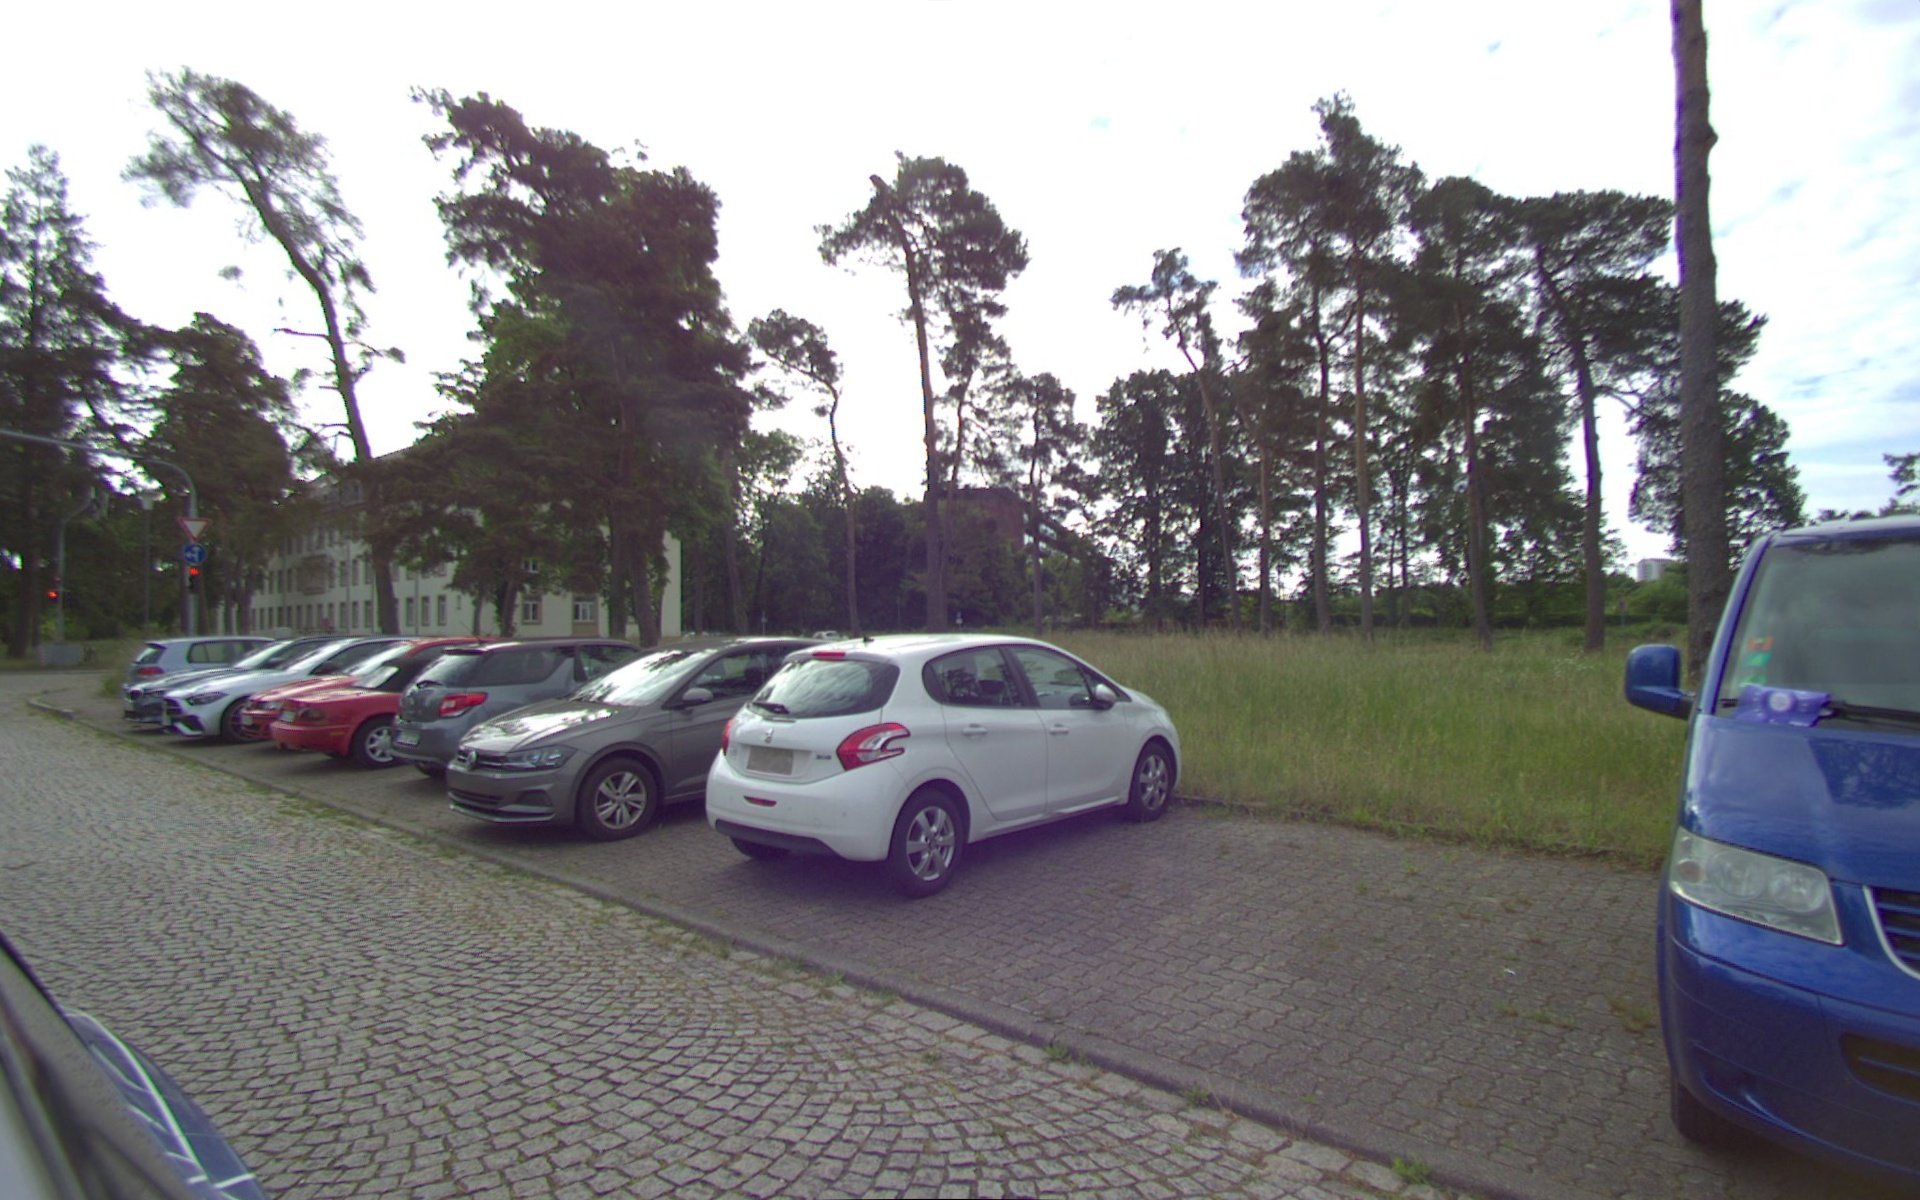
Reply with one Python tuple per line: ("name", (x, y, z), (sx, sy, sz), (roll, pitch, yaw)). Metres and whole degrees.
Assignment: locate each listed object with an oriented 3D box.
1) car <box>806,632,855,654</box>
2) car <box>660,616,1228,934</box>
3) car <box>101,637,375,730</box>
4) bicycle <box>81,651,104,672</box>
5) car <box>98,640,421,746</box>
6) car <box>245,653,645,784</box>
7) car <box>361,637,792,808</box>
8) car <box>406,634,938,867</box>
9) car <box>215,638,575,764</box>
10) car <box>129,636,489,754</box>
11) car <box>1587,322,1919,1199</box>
("car", (-11.093, 3.676, 86.975), (1.722, 1.821, 3.942), (-3, -3, 44))
("car", (0.130, 0.954, 7.320), (1.845, 1.508, 4.025), (-3, -1, 42))
("car", (-13.785, 1.511, 19.492), (1.904, 1.555, 3.946), (-3, -3, 40))
("bicycle", (-39.054, 2.755, 45.550), (1.046, 0.923, 0.291), (-2, -2, 20))
("car", (-11.956, 1.497, 17.529), (1.932, 1.560, 4.210), (-2, -3, 37))
("car", (-6.298, 1.356, 12.744), (1.831, 1.276, 4.121), (-3, -3, 42))
("car", (-4.073, 1.185, 11.267), (1.845, 1.493, 4.121), (-3, -3, 42))
("car", (-2.289, 1.077, 8.857), (1.864, 1.503, 4.121), (-3, -3, 42))
("car", (-7.921, 1.322, 14.497), (1.863, 1.488, 4.123), (-3, -3, 40))
("car", (-9.910, 1.345, 15.706), (1.933, 1.519, 4.331), (-2, -3, 39))
("car", (3.895, 0.512, 3.604), (2.113, 2.138, 4.733), (-3, -3, 40))
